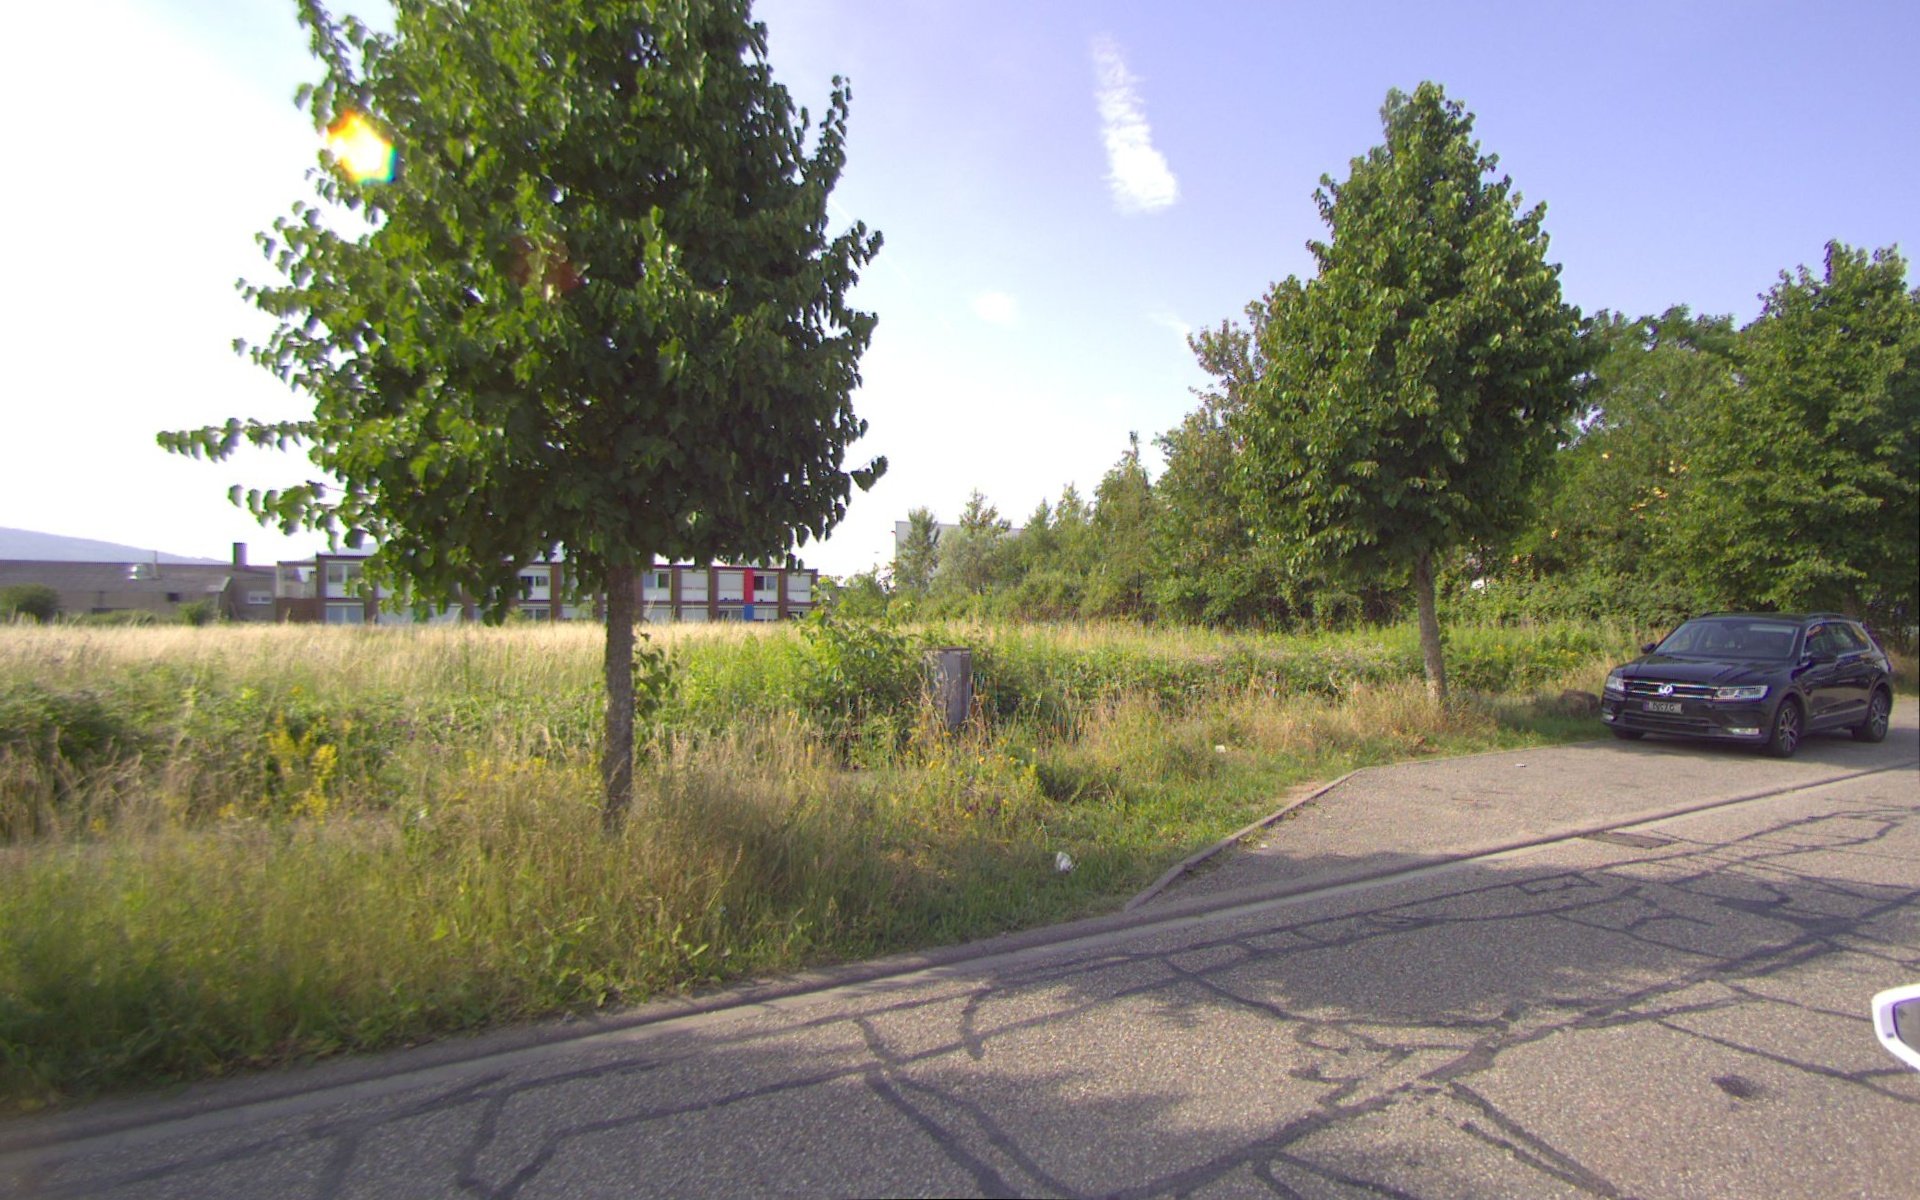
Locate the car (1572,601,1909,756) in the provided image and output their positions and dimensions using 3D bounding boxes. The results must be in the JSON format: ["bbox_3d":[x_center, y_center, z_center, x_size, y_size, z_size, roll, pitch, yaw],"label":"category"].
[{"bbox_3d":[9.973,0.866,12.773,4.397,1.648,1.893,1,1,-31],"label":"car"}]
